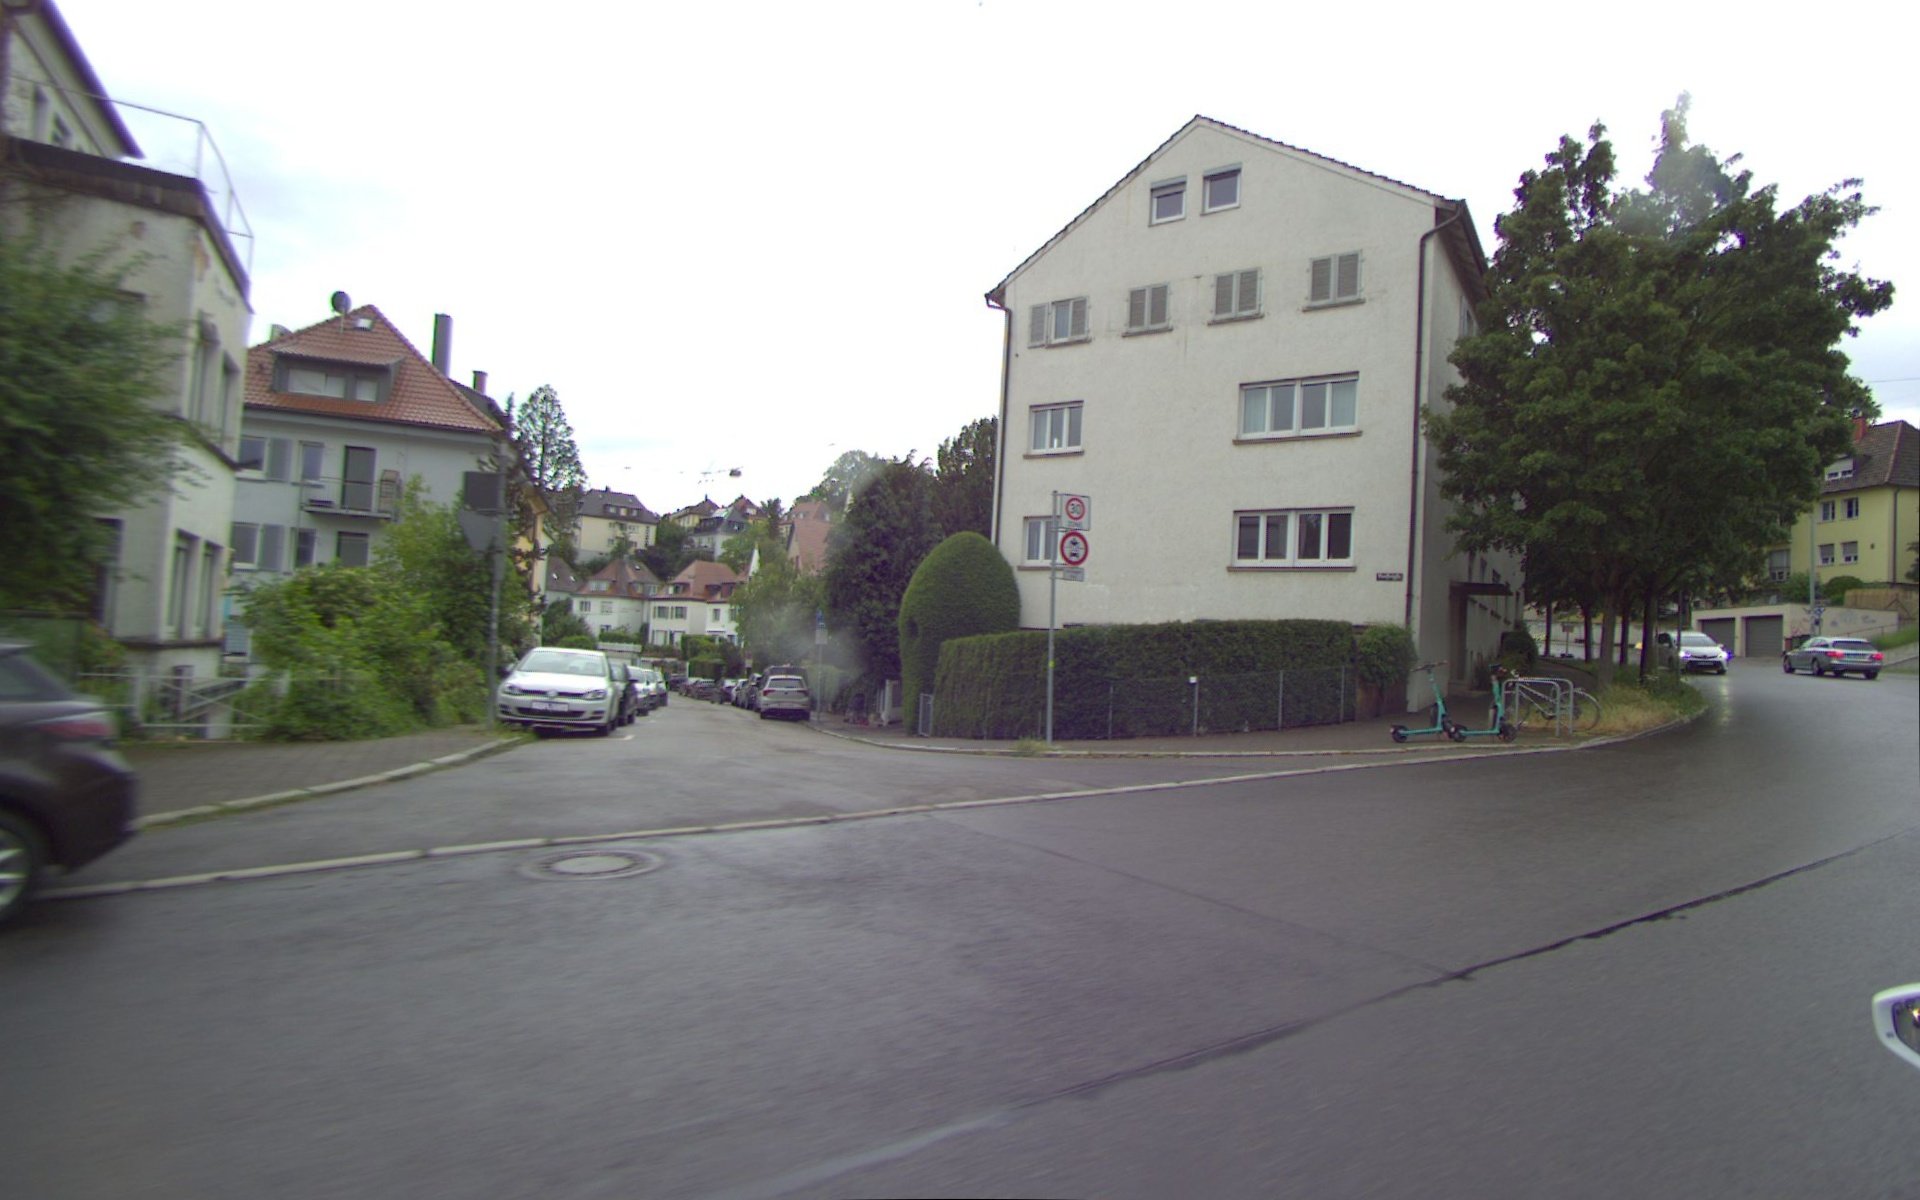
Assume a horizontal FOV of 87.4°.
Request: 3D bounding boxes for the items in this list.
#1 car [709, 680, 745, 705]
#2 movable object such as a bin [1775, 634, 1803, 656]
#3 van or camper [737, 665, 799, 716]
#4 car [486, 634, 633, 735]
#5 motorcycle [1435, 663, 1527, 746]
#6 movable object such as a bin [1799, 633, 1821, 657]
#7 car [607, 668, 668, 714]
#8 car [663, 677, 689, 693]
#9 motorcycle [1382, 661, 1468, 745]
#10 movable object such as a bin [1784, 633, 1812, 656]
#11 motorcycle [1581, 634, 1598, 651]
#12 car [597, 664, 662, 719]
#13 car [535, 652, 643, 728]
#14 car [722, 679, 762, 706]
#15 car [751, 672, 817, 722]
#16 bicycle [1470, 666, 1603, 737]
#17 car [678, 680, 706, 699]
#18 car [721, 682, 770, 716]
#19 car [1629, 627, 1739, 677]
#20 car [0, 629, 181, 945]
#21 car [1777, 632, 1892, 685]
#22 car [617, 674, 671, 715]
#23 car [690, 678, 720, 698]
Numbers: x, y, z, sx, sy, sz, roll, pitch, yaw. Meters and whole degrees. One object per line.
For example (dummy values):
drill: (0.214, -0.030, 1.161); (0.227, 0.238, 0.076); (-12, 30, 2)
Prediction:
car: (-13.847, 5.492, 59.509); (1.724, 1.381, 3.988); (3, -7, -17)
movable object such as a bin: (45.165, 2.449, 54.737); (0.845, 1.157, 0.799); (1, 0, -3)
van or camper: (-7.563, 3.576, 39.331); (1.896, 1.872, 3.569); (3, -6, -18)
car: (-6.858, 1.537, 17.605); (1.968, 1.536, 4.094); (3, -7, -17)
motorcycle: (8.147, 1.615, 15.714); (1.380, 1.219, 0.555); (1, -1, -25)
movable object such as a bin: (44.999, 2.396, 53.194); (0.691, 1.239, 0.580); (1, 0, -3)
car: (-12.223, 3.499, 38.263); (1.967, 1.626, 3.991); (3, -6, -15)
car: (-25.496, 7.650, 90.244); (1.727, 1.381, 3.981); (3, -7, -23)
motorcycle: (7.371, 1.606, 15.913); (1.287, 1.244, 0.551); (1, -1, -25)
movable object such as a bin: (44.970, 2.409, 53.907); (0.845, 1.201, 0.787); (1, 0, -3)
motorcycle: (45.415, 3.085, 72.472); (0.539, 1.147, 1.441); (1, 0, 12)
car: (-10.713, 3.021, 32.798); (1.829, 1.626, 3.989); (3, -7, -17)
car: (-8.293, 2.079, 22.785); (1.968, 1.536, 4.094); (3, -7, -17)
car: (-11.996, 5.115, 55.123); (1.724, 1.381, 3.988); (3, -7, -17)
car: (-6.216, 3.410, 35.177); (1.724, 1.626, 3.988); (3, -7, -17)
bicycle: (10.015, 1.732, 17.473); (1.938, 1.074, 0.751); (0, -1, 38)
car: (-21.244, 7.089, 79.626); (1.726, 1.381, 3.984); (3, -7, -20)
car: (-9.500, 4.375, 44.329); (1.724, 1.381, 3.988); (3, -7, -17)
car: (28.700, 2.033, 39.997); (1.950, 1.812, 4.697); (-2, -2, 15)
car: (-5.977, 0.818, 3.962); (1.967, 1.409, 4.185); (0, -2, 34)
car: (32.711, 2.136, 37.726); (1.918, 1.582, 4.260); (3, 2, 22)
car: (-13.363, 4.039, 42.708); (1.967, 1.626, 3.991); (3, -6, -15)
car: (-19.109, 6.600, 75.201); (1.726, 1.381, 3.984); (3, -7, -20)
